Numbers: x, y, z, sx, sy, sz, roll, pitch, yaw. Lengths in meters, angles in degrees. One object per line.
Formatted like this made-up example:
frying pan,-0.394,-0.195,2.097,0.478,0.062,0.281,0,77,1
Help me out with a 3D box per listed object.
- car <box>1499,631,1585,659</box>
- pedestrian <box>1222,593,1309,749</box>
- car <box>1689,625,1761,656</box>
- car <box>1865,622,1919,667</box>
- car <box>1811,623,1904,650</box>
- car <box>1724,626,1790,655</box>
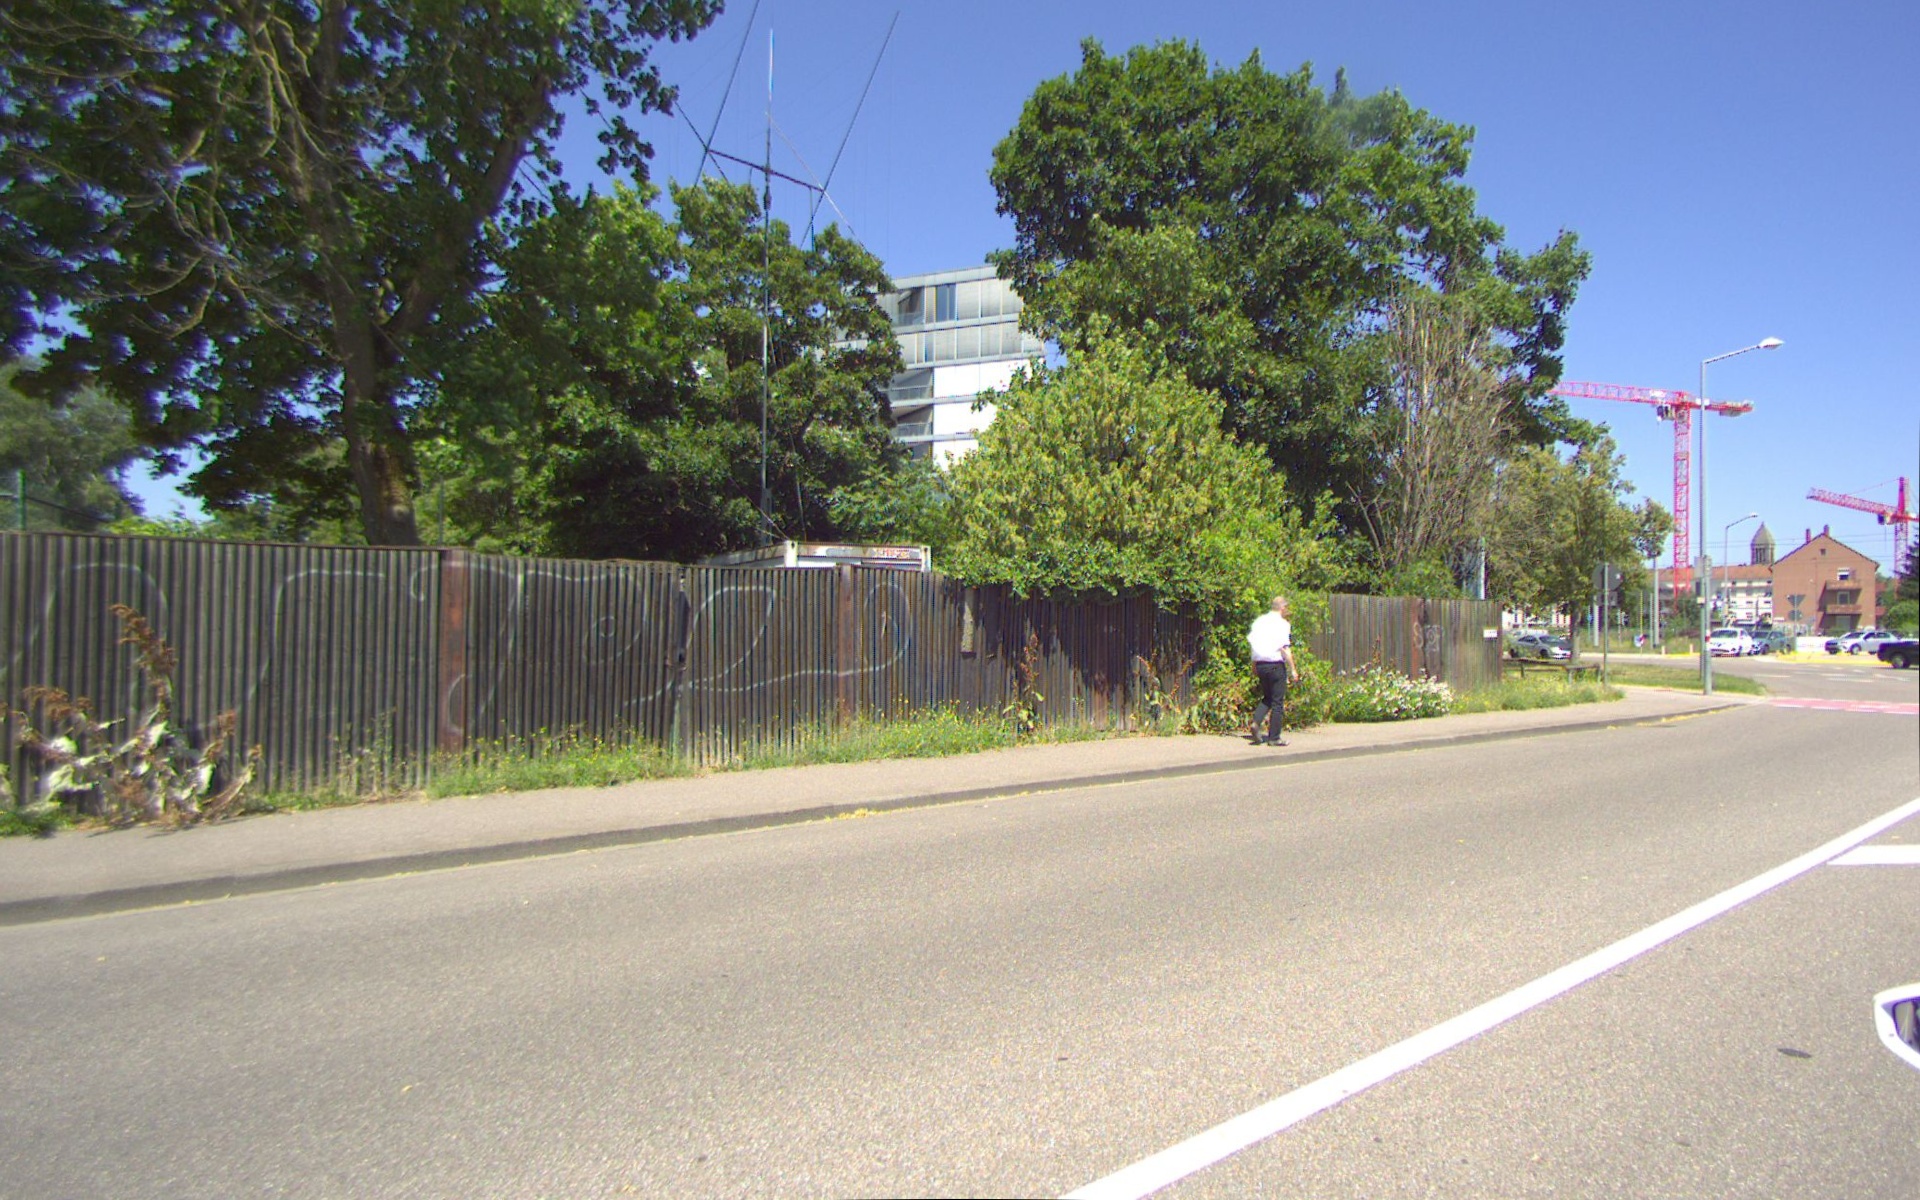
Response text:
car,31.321,2.411,54.215,1.789,1.334,4.273,1,-1,-7
pedestrian,3.758,0.851,12.347,0.841,1.849,0.589,1,0,-30
car,41.915,2.215,55.013,3.953,1.570,1.748,2,-1,-30
car,36.754,1.685,36.995,1.964,1.678,4.946,1,-1,-9
car,55.620,2.238,62.290,4.136,1.520,1.713,1,-1,3
car,46.658,2.357,58.798,3.953,1.570,1.748,2,-1,-30
